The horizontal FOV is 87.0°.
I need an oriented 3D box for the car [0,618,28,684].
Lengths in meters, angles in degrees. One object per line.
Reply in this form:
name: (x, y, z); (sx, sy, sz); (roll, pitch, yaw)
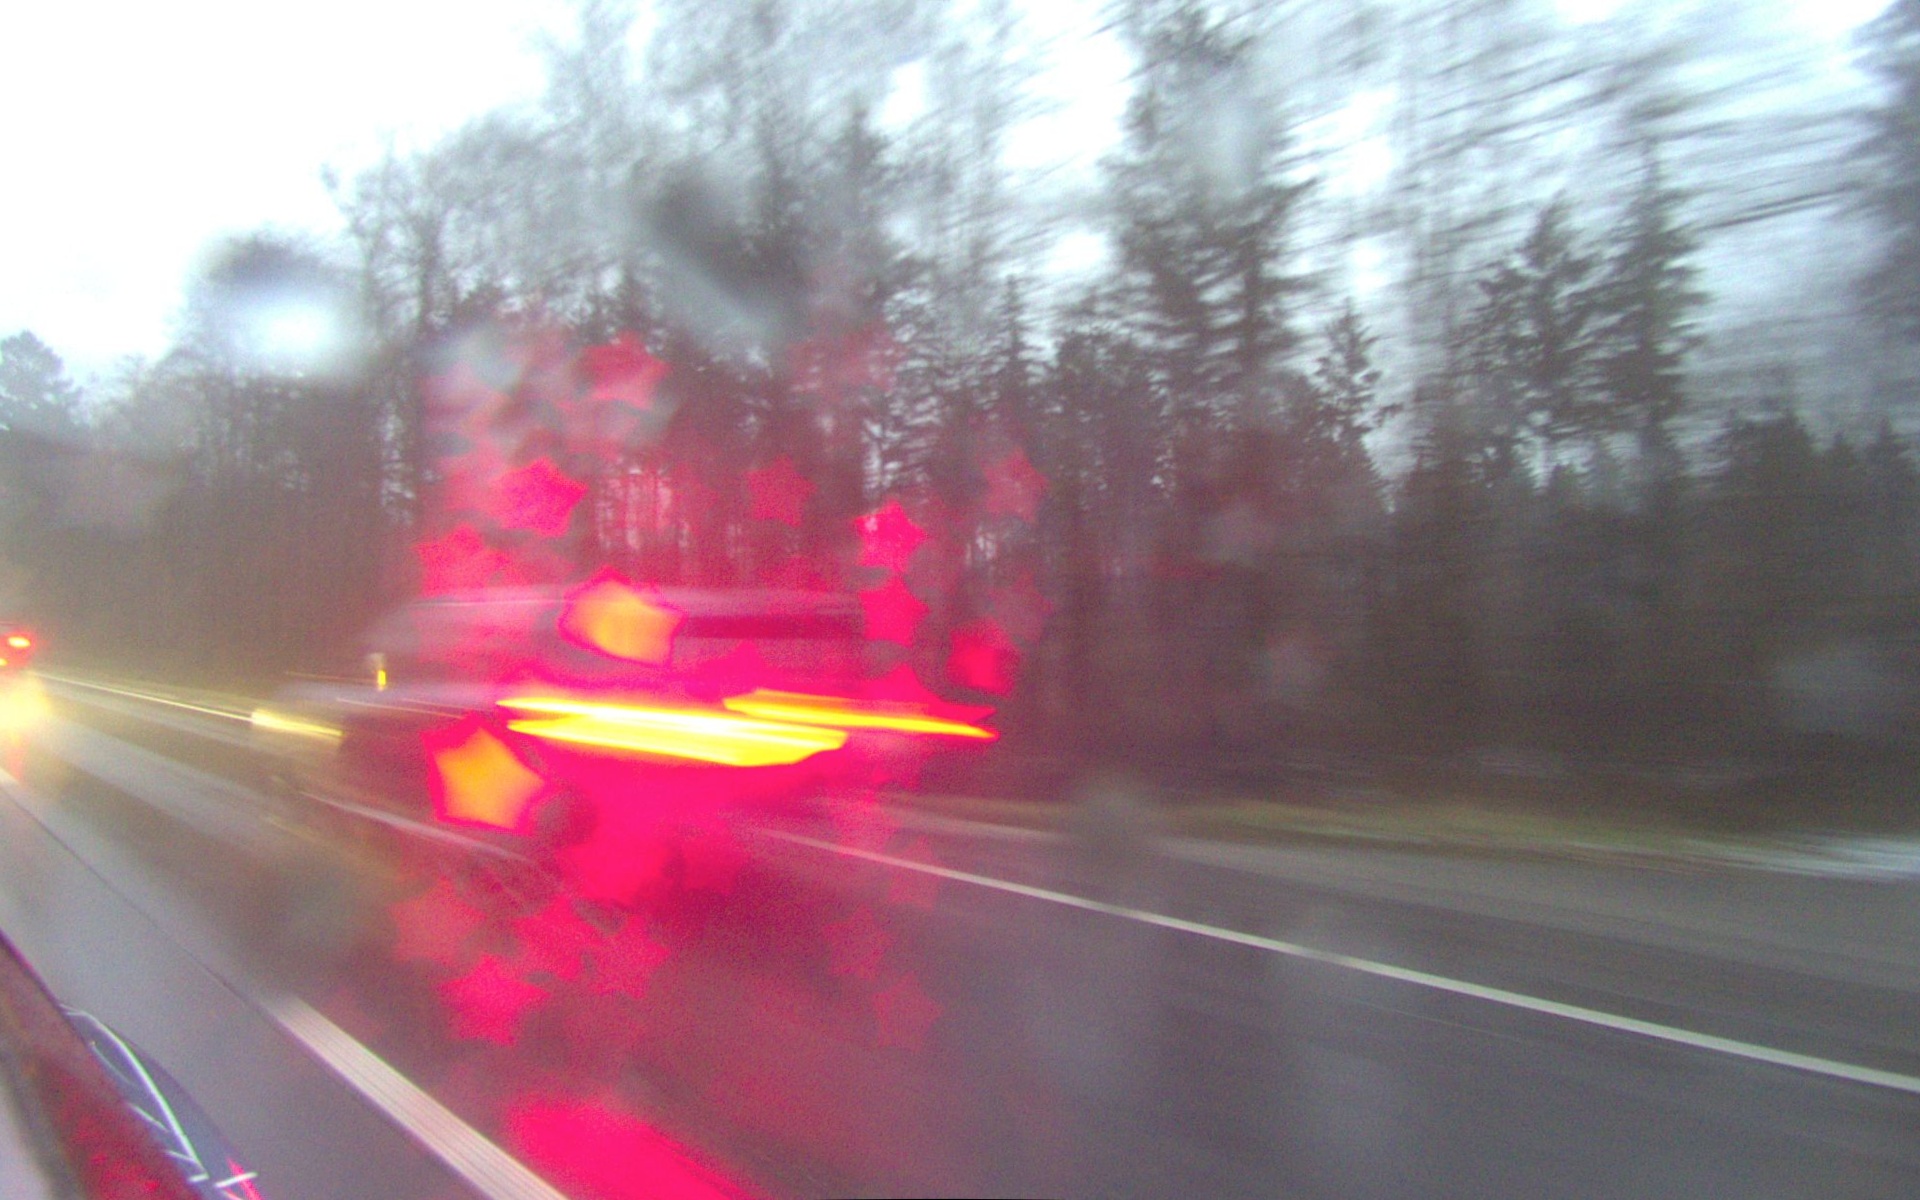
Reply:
car: (-24.654, 1.239, 25.262); (3.997, 1.562, 1.565); (-1, -1, 40)

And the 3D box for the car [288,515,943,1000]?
car: (-2.246, 0.635, 5.897); (4.283, 1.836, 1.688); (-1, -2, 41)
